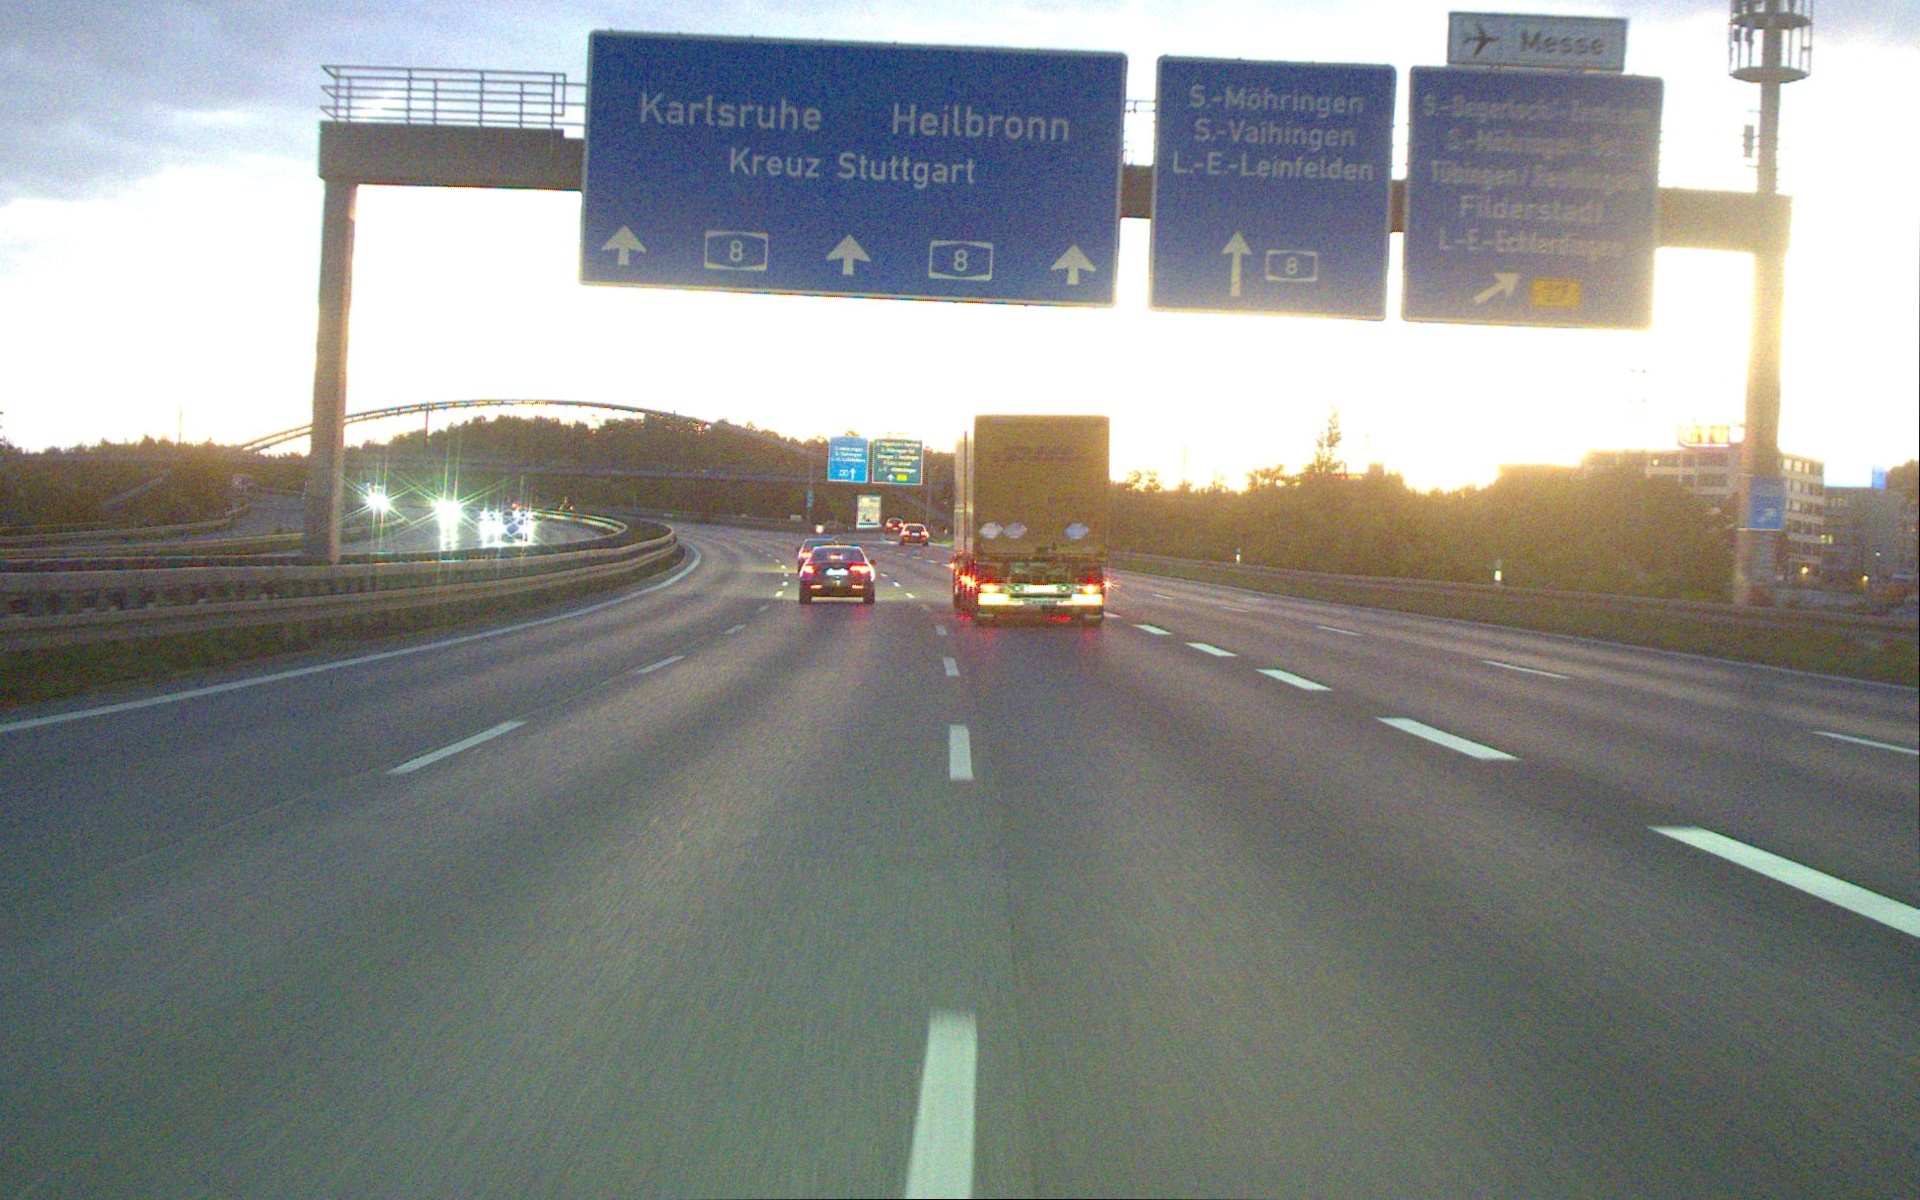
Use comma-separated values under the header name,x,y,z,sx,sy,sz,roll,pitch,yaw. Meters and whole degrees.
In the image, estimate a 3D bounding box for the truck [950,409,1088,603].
name,x,y,z,sx,sy,sz,roll,pitch,yaw
truck,1.239,-2.140,77.908,2.690,4.057,10.521,1,2,-1

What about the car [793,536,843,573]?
name,x,y,z,sx,sy,sz,roll,pitch,yaw
car,-5.544,-1.780,134.354,1.689,1.396,3.408,0,0,2

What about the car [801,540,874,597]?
name,x,y,z,sx,sy,sz,roll,pitch,yaw
car,-3.071,-0.781,85.914,1.689,1.396,3.409,1,0,-4

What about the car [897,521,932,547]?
name,x,y,z,sx,sy,sz,roll,pitch,yaw
car,-3.144,-4.535,236.810,1.993,1.711,4.001,1,0,-7

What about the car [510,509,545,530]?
name,x,y,z,sx,sy,sz,roll,pitch,yaw
car,-28.507,-5.316,226.519,1.993,1.353,4.866,1,2,-4

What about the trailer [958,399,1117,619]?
name,x,y,z,sx,sy,sz,roll,pitch,yaw
trailer,1.437,-1.824,68.225,2.722,4.057,8.832,1,2,-1
